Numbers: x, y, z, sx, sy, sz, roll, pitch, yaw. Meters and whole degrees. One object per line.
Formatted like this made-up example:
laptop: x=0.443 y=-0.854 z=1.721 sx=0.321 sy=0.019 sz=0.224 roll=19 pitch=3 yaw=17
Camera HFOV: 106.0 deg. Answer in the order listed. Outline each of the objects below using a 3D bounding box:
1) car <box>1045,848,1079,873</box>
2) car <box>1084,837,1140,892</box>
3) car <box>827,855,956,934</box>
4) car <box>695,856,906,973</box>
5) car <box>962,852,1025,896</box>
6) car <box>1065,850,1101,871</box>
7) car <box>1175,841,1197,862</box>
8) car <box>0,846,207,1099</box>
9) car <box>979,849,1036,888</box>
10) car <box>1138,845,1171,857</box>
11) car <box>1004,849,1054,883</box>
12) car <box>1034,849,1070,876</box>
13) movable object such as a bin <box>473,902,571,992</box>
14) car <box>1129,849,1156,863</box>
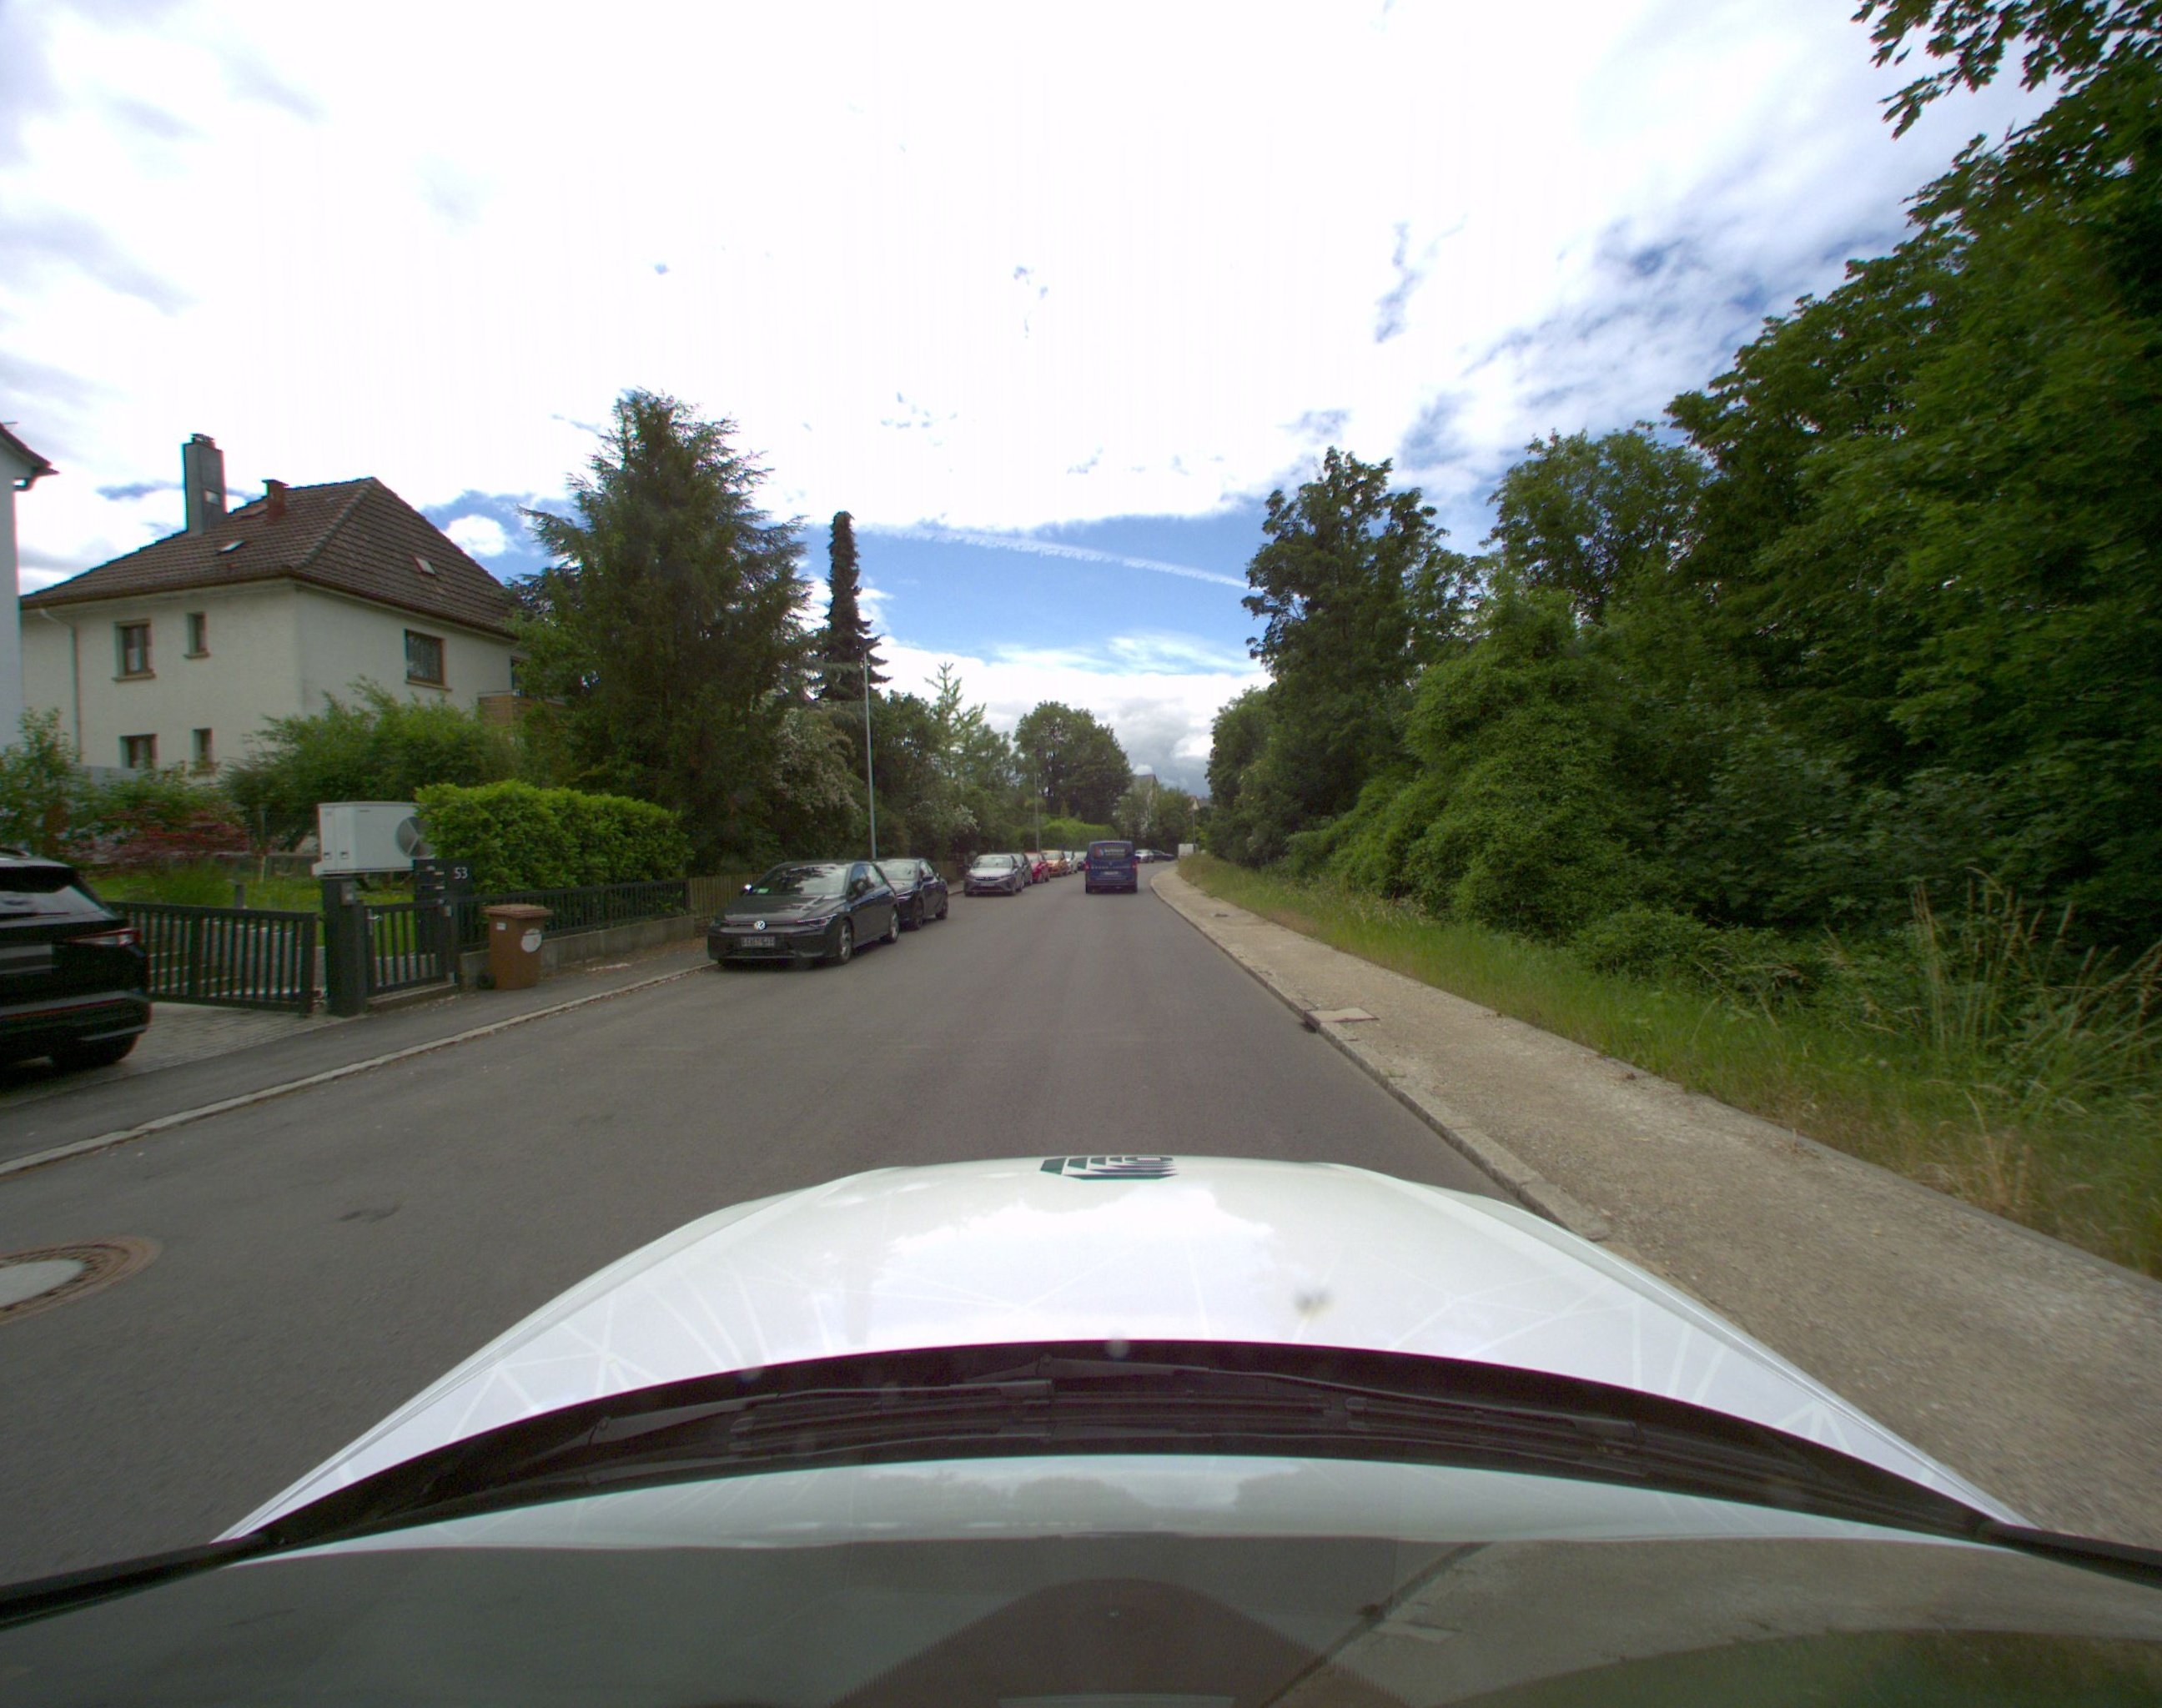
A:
car: x=-1.167 y=0.366 z=52.173 sx=1.579 sy=1.514 sz=3.599 roll=-1 pitch=0 yaw=8
car: x=1.098 y=0.363 z=30.638 sx=1.930 sy=1.880 sz=4.530 roll=-1 pitch=0 yaw=0
car: x=-3.926 y=0.776 z=17.554 sx=1.701 sy=1.416 sz=4.133 roll=-1 pitch=0 yaw=1
car: x=-4.046 y=0.784 z=12.527 sx=1.701 sy=1.416 sz=4.151 roll=-1 pitch=0 yaw=1
car: x=-3.062 y=0.668 z=29.302 sx=1.701 sy=1.410 sz=4.162 roll=-1 pitch=0 yaw=1
car: x=0.215 y=0.444 z=58.775 sx=1.707 sy=1.385 sz=4.678 roll=-1 pitch=0 yaw=11
car: x=11.196 y=-0.279 z=86.985 sx=2.194 sy=2.063 sz=6.147 roll=-1 pitch=0 yaw=7
car: x=-8.528 y=0.722 z=5.549 sx=3.957 sy=1.547 sz=1.849 roll=0 pitch=1 yaw=15
car: x=-3.072 y=0.585 z=35.018 sx=1.699 sy=1.514 sz=4.501 roll=-1 pitch=0 yaw=4
car: x=9.263 y=-0.317 z=102.332 sx=4.146 sy=1.447 sz=1.743 roll=-1 pitch=0 yaw=5
car: x=-2.495 y=0.545 z=40.099 sx=1.698 sy=1.514 sz=4.371 roll=-1 pitch=0 yaw=6
car: x=-1.655 y=0.457 z=47.390 sx=1.536 sy=1.514 sz=3.650 roll=-1 pitch=0 yaw=6
movable object such as a bin: x=-6.318 y=1.037 z=9.237 sx=0.627 sy=0.922 sz=0.655 roll=-1 pitch=0 yaw=2
car: x=6.442 y=0.188 z=84.979 sx=1.817 sy=1.373 sz=4.465 roll=0 pitch=1 yaw=17
